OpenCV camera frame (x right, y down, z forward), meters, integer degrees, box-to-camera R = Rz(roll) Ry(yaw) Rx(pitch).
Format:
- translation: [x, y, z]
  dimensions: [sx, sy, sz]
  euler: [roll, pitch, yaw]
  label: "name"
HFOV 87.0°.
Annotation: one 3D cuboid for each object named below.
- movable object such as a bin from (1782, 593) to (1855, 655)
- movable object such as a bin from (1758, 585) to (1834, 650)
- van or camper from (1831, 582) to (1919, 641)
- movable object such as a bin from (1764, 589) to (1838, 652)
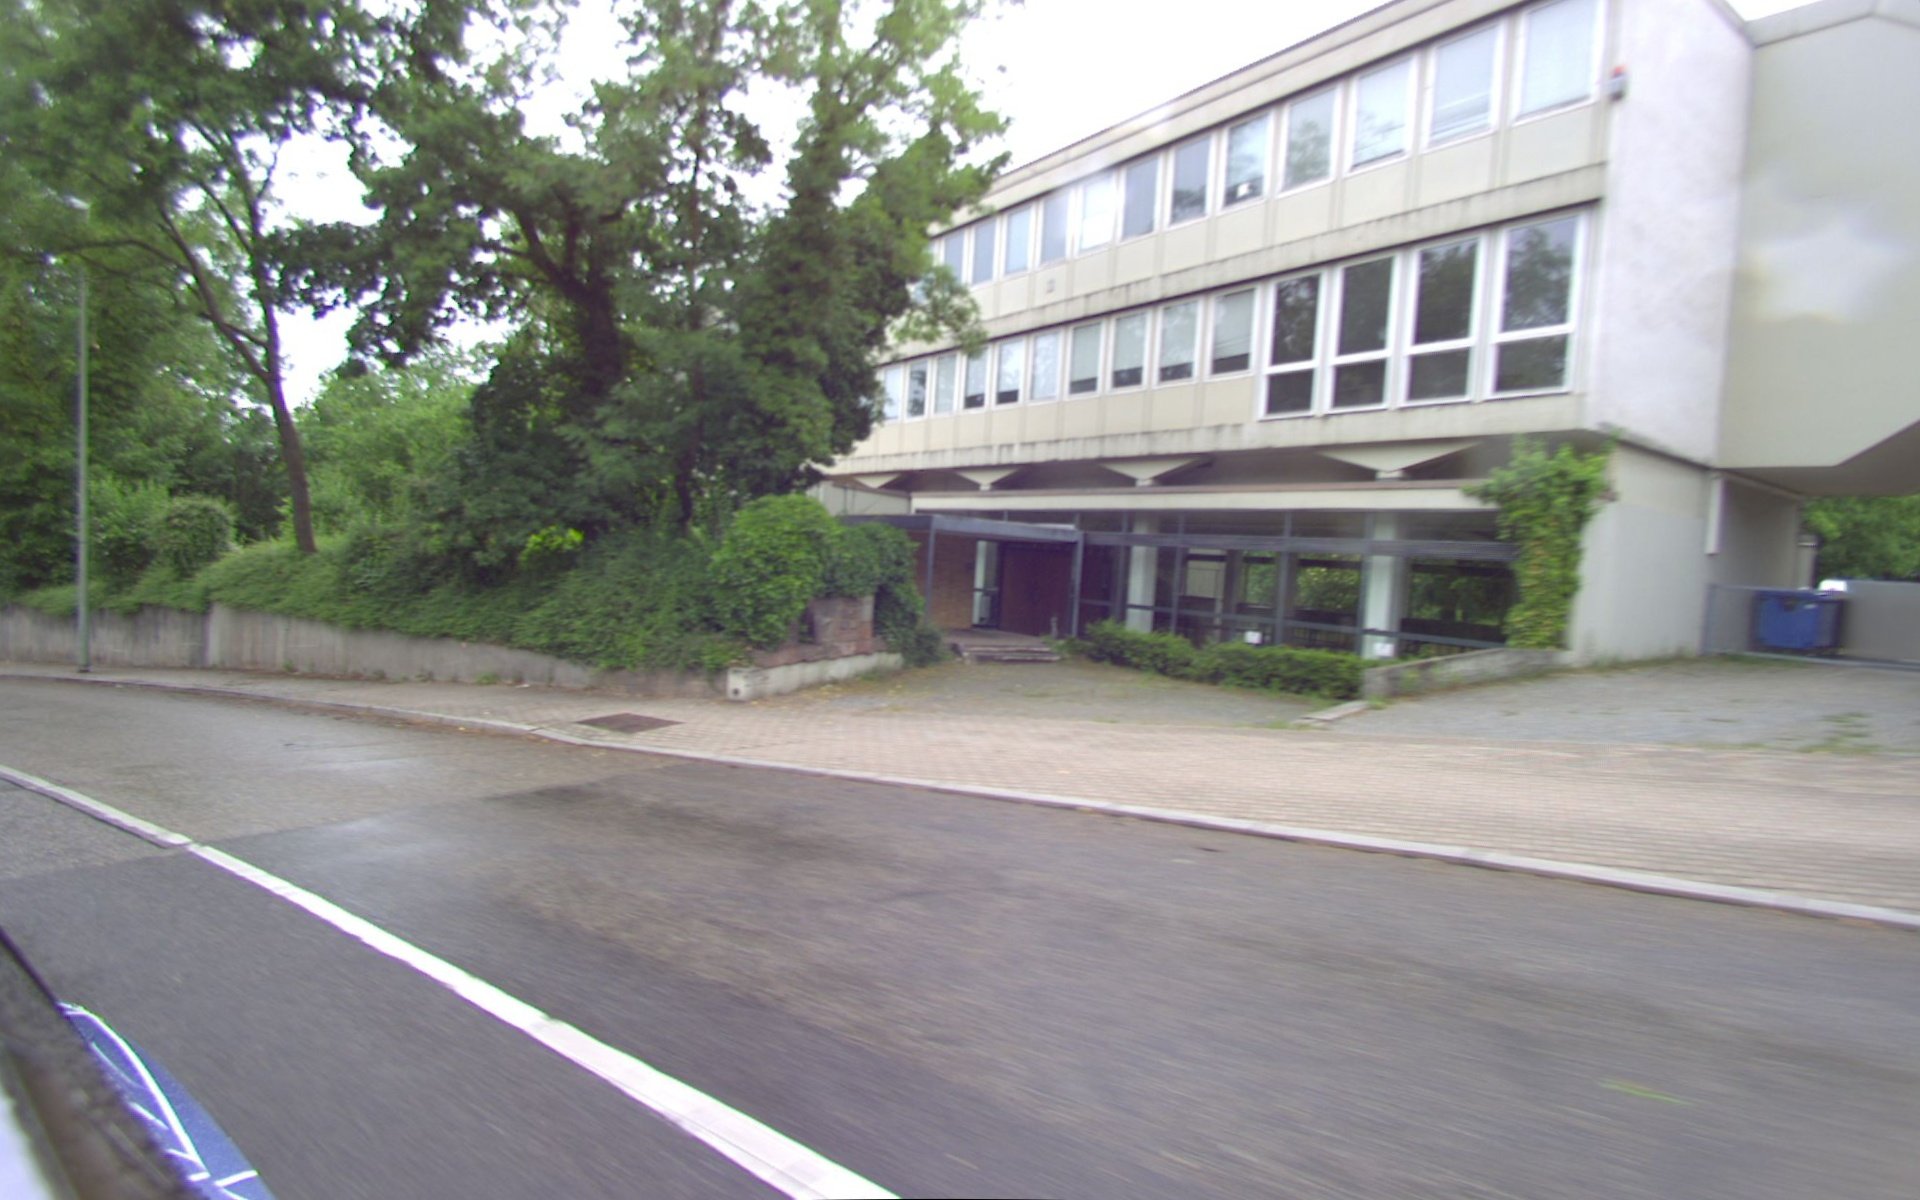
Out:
- translation: [16.393, 0.451, 19.336]
  dimensions: [0.461, 1.156, 1.014]
  euler: [1, 0, -41]
  label: "movable object such as a bin"
- translation: [15.467, 0.316, 18.732]
  dimensions: [0.461, 1.156, 1.014]
  euler: [1, 0, -41]
  label: "movable object such as a bin"
- translation: [33.507, 0.400, 36.580]
  dimensions: [3.932, 2.029, 2.006]
  euler: [0, -1, -33]
  label: "van or camper"
- translation: [15.862, 0.384, 19.100]
  dimensions: [0.461, 1.156, 1.014]
  euler: [1, 0, -41]
  label: "movable object such as a bin"
